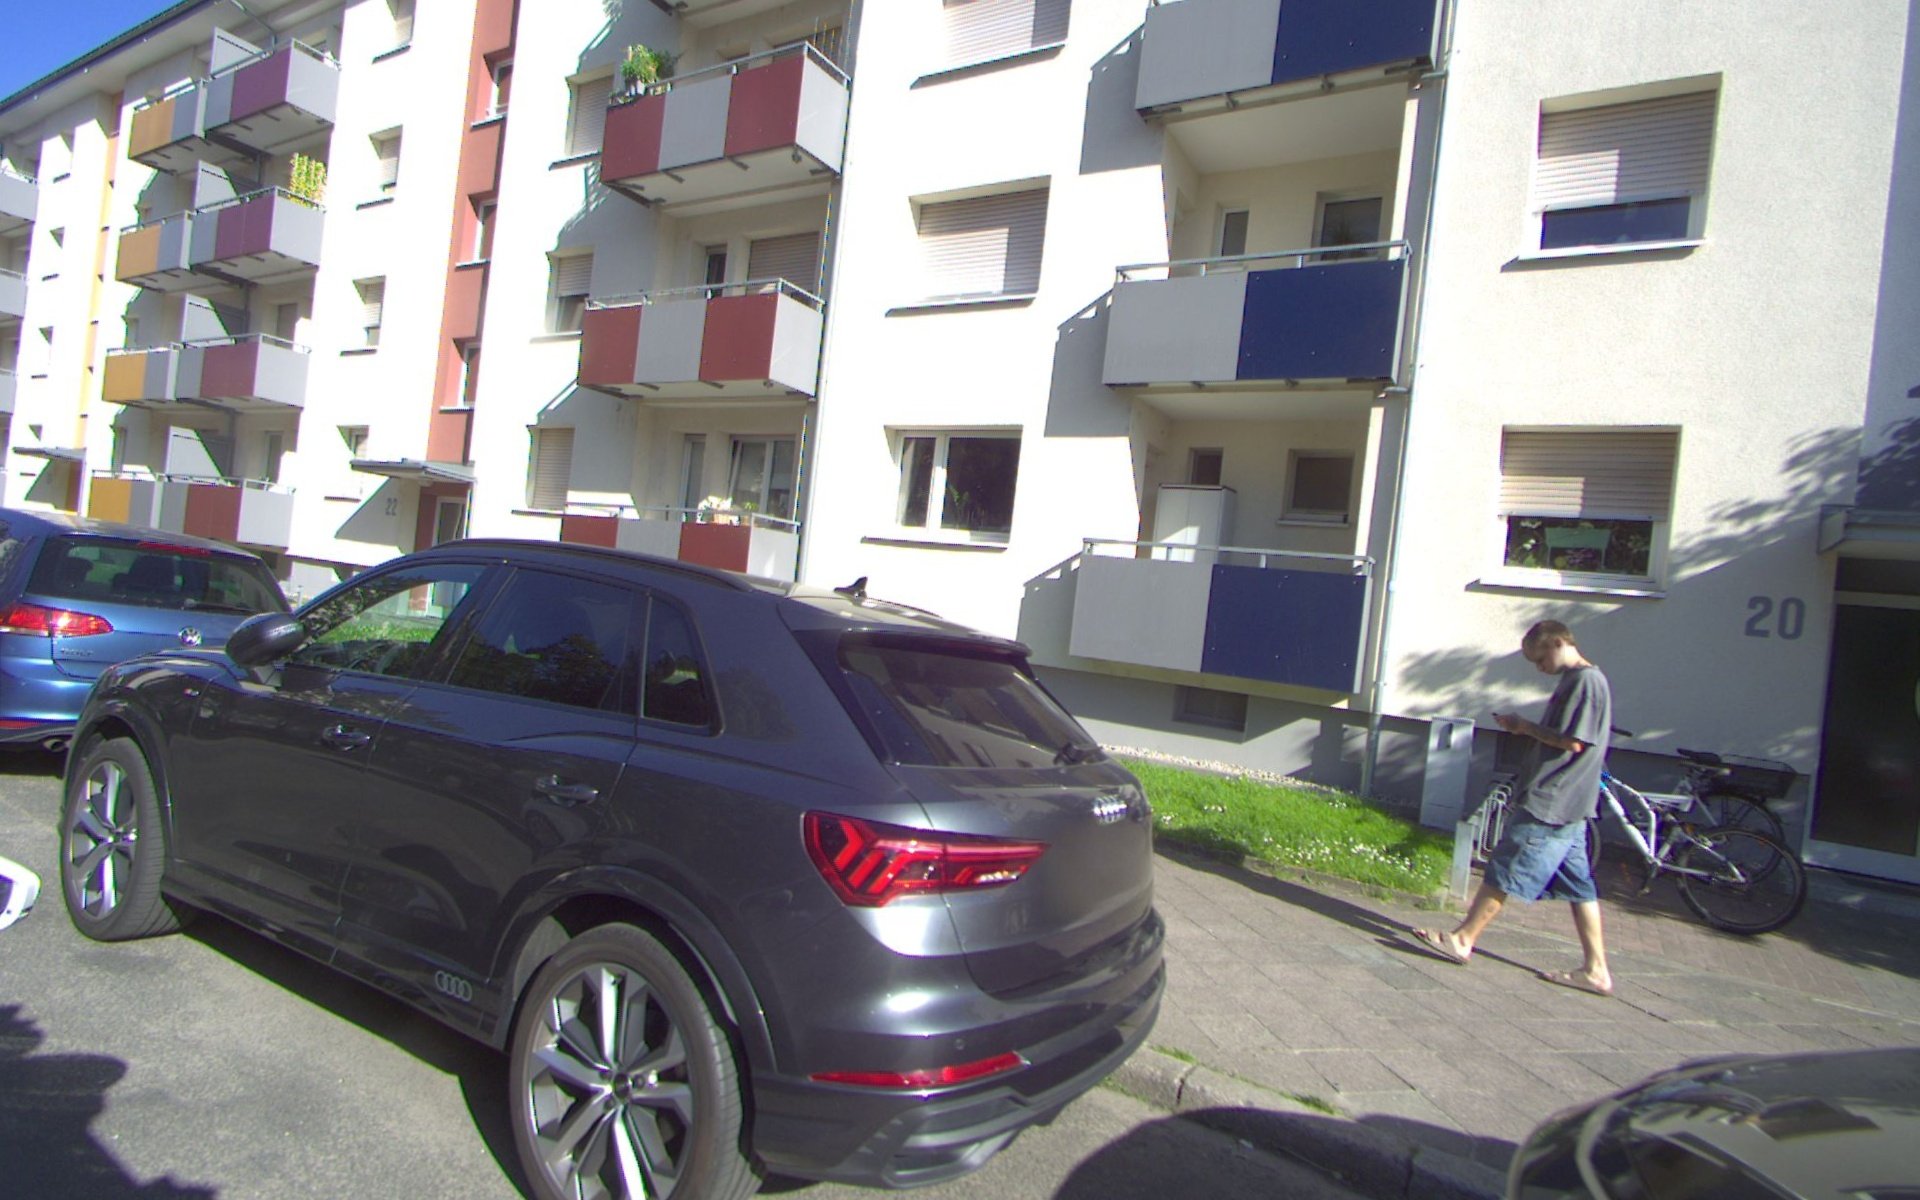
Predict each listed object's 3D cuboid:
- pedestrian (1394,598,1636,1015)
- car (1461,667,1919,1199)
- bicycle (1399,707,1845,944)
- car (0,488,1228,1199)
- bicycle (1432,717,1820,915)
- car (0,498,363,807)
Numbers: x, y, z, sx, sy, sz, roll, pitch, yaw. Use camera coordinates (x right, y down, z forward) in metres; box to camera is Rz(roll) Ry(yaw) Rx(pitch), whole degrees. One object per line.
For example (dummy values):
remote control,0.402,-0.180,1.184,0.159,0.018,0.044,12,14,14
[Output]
pedestrian,2.721,0.944,4.964,0.827,1.793,0.646,6,-1,31
car,2.538,1.047,0.853,3.734,1.502,1.607,6,-1,31
bicycle,4.130,1.368,6.501,2.244,1.024,0.485,6,1,29
car,-1.420,0.607,3.621,4.183,1.577,1.756,6,-2,30
bicycle,4.777,1.517,7.417,2.244,0.972,0.485,6,0,29
car,-5.988,0.165,6.557,4.011,1.498,1.756,6,-2,30
